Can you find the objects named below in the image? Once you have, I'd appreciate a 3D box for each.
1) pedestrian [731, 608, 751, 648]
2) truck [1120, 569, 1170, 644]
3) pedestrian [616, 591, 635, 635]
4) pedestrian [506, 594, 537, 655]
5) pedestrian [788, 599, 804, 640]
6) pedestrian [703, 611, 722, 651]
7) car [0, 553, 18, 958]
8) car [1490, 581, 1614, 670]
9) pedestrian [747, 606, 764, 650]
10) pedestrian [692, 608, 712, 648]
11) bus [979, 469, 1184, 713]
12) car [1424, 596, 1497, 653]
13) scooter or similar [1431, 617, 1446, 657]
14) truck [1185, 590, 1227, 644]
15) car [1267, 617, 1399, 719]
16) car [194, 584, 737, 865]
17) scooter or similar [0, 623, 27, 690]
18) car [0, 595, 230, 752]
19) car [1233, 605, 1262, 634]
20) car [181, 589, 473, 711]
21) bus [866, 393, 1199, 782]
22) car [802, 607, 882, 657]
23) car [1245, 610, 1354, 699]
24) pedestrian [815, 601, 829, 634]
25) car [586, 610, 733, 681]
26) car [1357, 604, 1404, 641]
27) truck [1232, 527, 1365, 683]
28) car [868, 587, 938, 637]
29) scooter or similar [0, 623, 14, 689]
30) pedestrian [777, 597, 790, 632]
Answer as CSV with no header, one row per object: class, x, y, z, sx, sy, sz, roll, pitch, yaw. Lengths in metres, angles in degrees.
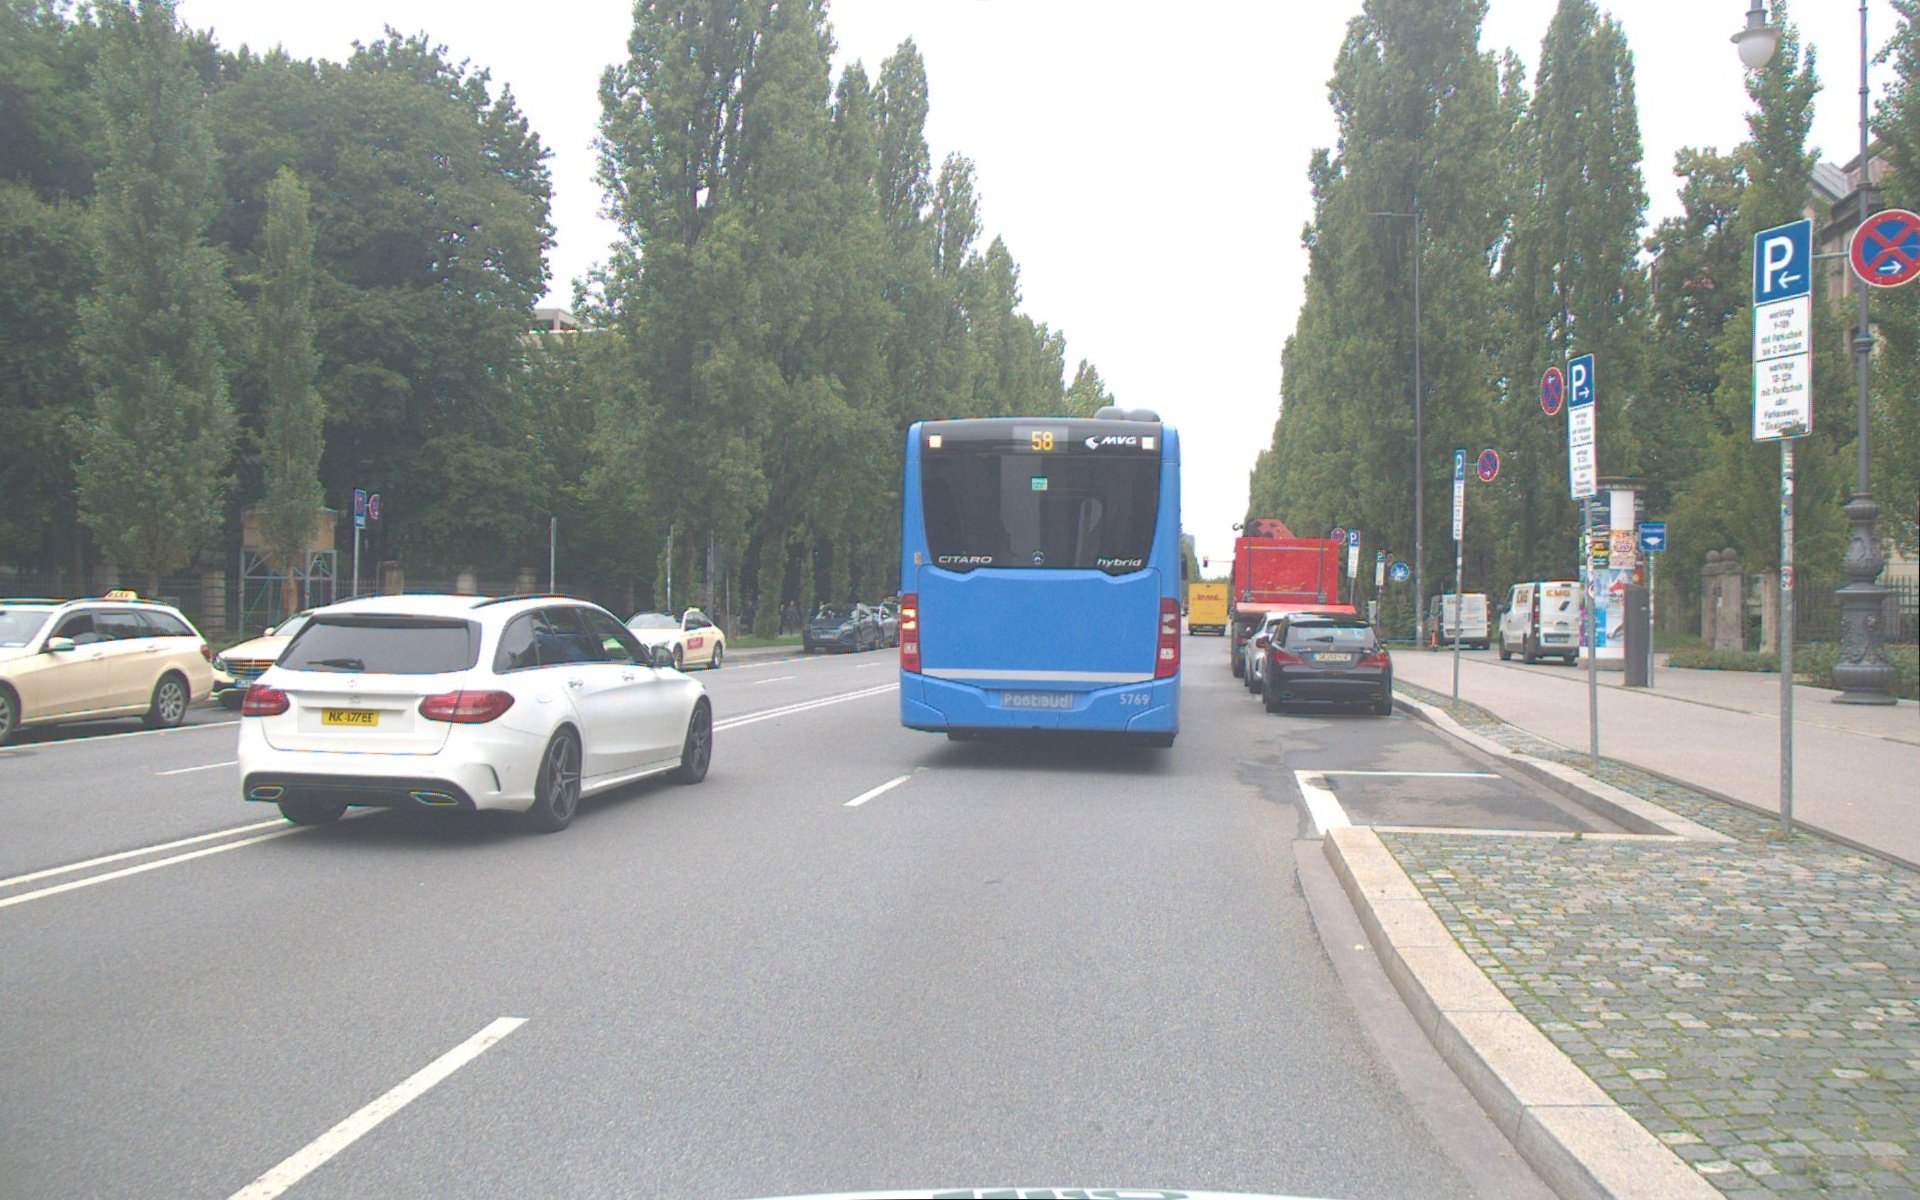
pedestrian,-10.438,1.330,78.859,0.731,1.887,0.758,1,-1,10
truck,10.524,0.361,93.631,2.658,4.035,9.224,0,0,7
pedestrian,-15.669,0.614,77.412,0.682,2.049,0.561,1,-1,9
pedestrian,-12.727,0.698,48.007,0.570,1.750,0.787,1,-1,8
pedestrian,-8.200,0.963,82.640,0.611,2.049,0.596,1,-1,11
pedestrian,-11.047,1.392,73.865,0.652,1.752,0.734,0,0,10
car,-3.332,0.630,1.710,1.875,1.602,4.690,2,0,1
car,14.477,0.603,40.729,1.840,1.978,4.889,2,0,8
pedestrian,-9.785,1.337,79.161,0.652,2.049,0.639,1,-1,9
pedestrian,-10.892,1.175,69.848,0.605,1.689,0.705,1,-1,10
bus,2.286,-0.099,27.823,2.811,3.362,9.796,1,0,7
car,18.209,0.876,60.397,1.951,1.980,5.087,0,-1,10
scooter or similar,15.428,1.190,53.312,0.329,1.288,1.187,0,-1,10
truck,14.090,0.953,94.721,2.278,2.949,7.338,1,-1,9
car,5.413,0.938,24.427,1.698,1.333,4.373,0,0,10
car,-3.034,0.696,11.330,1.787,1.480,4.586,1,0,8
scooter or similar,-17.600,1.032,30.267,0.238,1.222,1.123,0,-1,9
car,-10.341,0.789,18.308,1.779,1.586,4.862,-2,-1,9
car,20.730,1.390,119.451,2.009,2.049,5.697,0,0,10
car,-9.382,0.734,25.055,1.896,1.653,4.968,0,-1,9
bus,1.138,-0.098,18.587,2.795,3.270,9.066,1,0,7
car,-4.063,1.072,57.724,1.744,1.624,4.617,-2,-1,9
car,6.184,0.949,30.500,1.749,1.485,4.221,1,0,9
pedestrian,-7.447,0.937,89.167,0.595,1.787,0.757,0,-1,8
car,-7.042,1.029,39.279,1.889,1.523,4.794,0,0,10
car,23.309,1.251,91.792,1.951,1.959,5.328,1,-1,8
truck,7.752,0.127,38.913,2.655,3.164,10.435,0,0,9
car,-2.331,0.498,69.055,1.951,1.991,4.941,-1,0,9
scooter or similar,-17.854,1.028,30.313,0.238,1.222,1.123,0,-1,9
pedestrian,-8.813,0.702,82.582,0.497,1.737,0.570,1,-1,10
